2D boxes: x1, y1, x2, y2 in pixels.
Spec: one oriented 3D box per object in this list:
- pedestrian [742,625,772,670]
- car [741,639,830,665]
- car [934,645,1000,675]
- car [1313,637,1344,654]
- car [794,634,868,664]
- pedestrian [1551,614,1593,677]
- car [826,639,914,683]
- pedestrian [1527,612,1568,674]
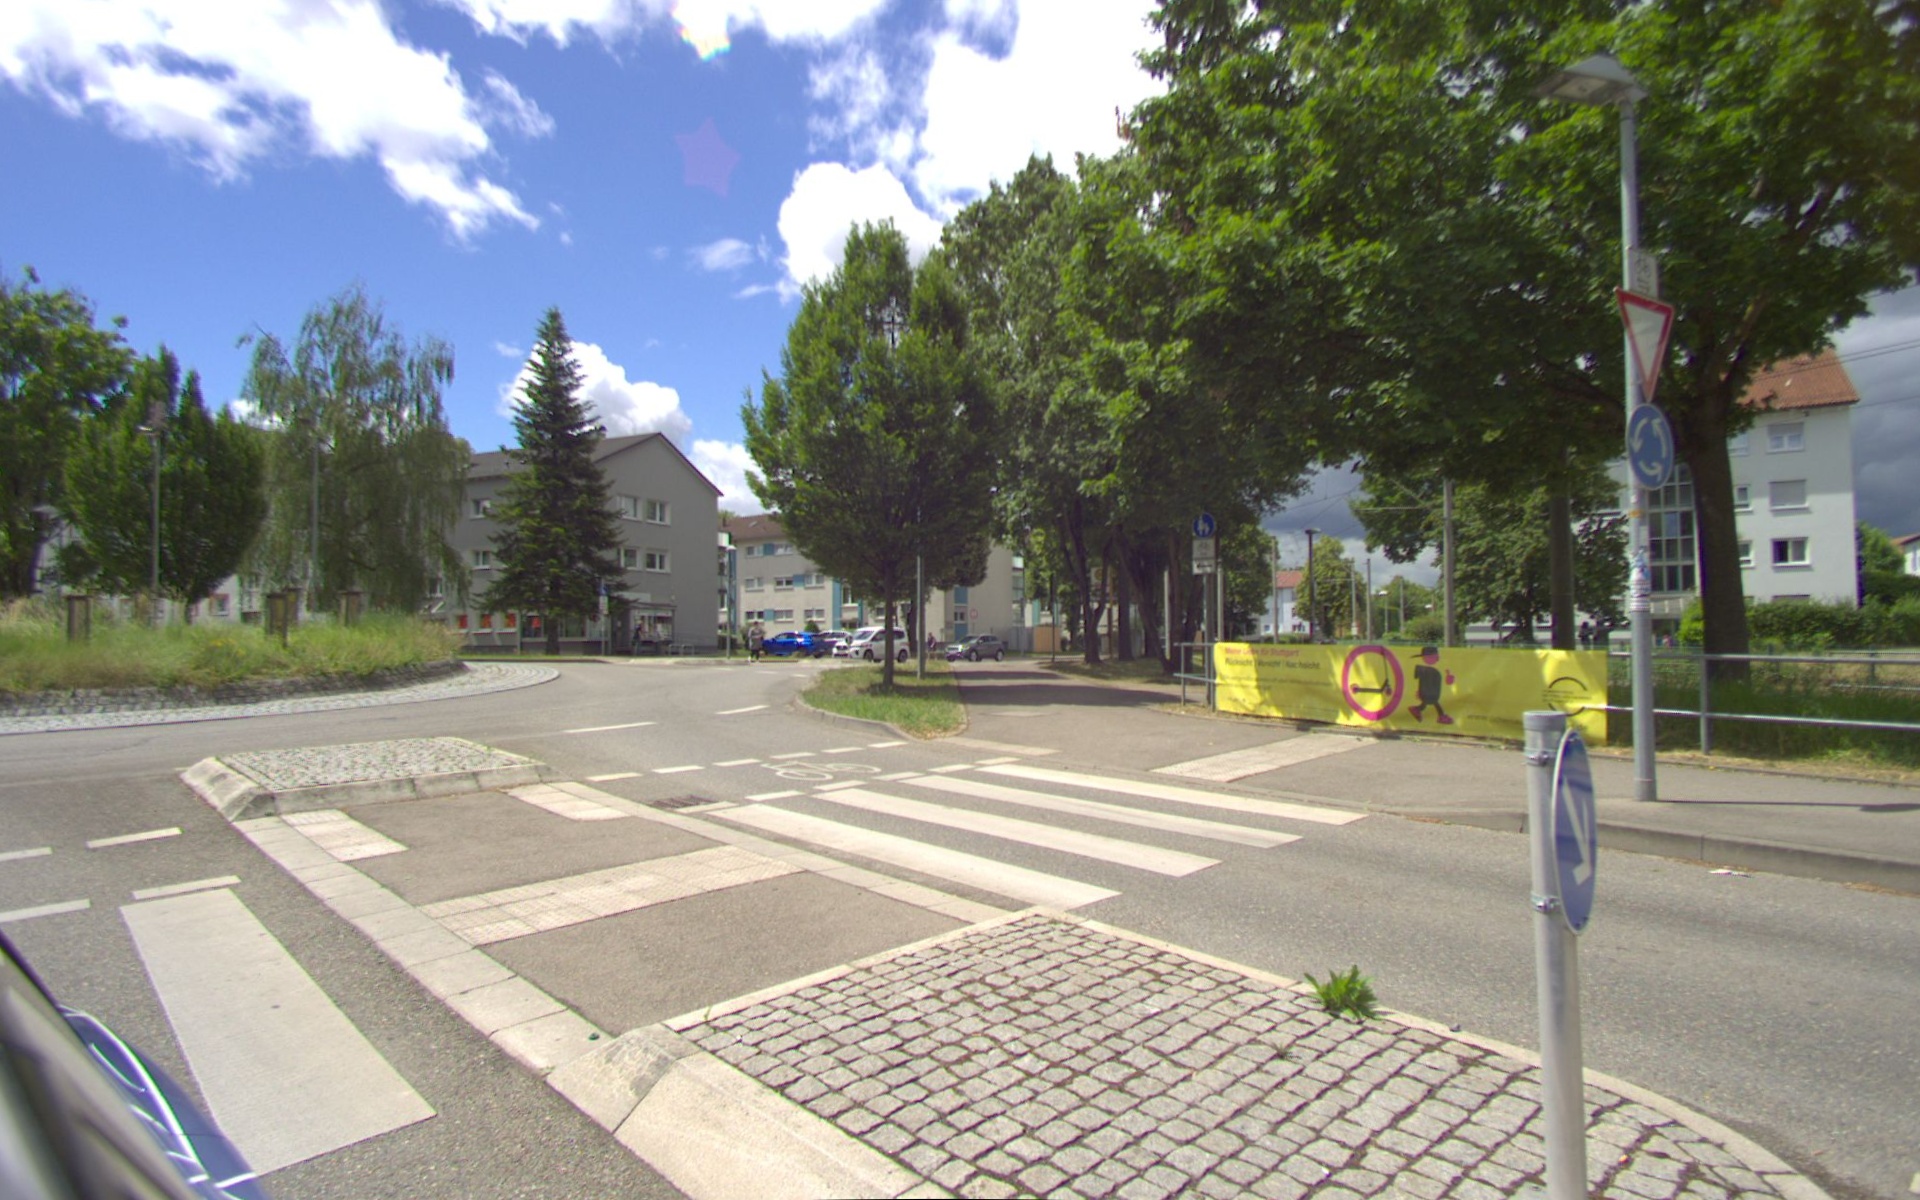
[{"bbox_3d":[-8.329,1.950,41.591,0.870,1.812,0.902,-1,-2,20],"label":"pedestrian"},{"bbox_3d":[-9.648,2.860,55.984,4.471,1.253,1.983,1,-2,25],"label":"car"},{"bbox_3d":[0.435,3.381,57.548,1.993,1.620,3.958,-2,-3,31],"label":"car"},{"bbox_3d":[39.773,4.928,109.239,1.998,1.713,3.948,-4,-4,38],"label":"car"},{"bbox_3d":[-7.452,2.841,58.499,3.721,1.569,2.014,1,-2,26],"label":"car"},{"bbox_3d":[19.991,1.493,33.067,0.963,2.029,0.732,1,-3,-26],"label":"pedestrian"},{"bbox_3d":[-4.352,2.954,49.437,1.994,2.066,4.393,-3,-3,33],"label":"car"},{"bbox_3d":[19.615,1.427,33.784,0.963,2.029,0.732,1,-3,-26],"label":"pedestrian"}]
